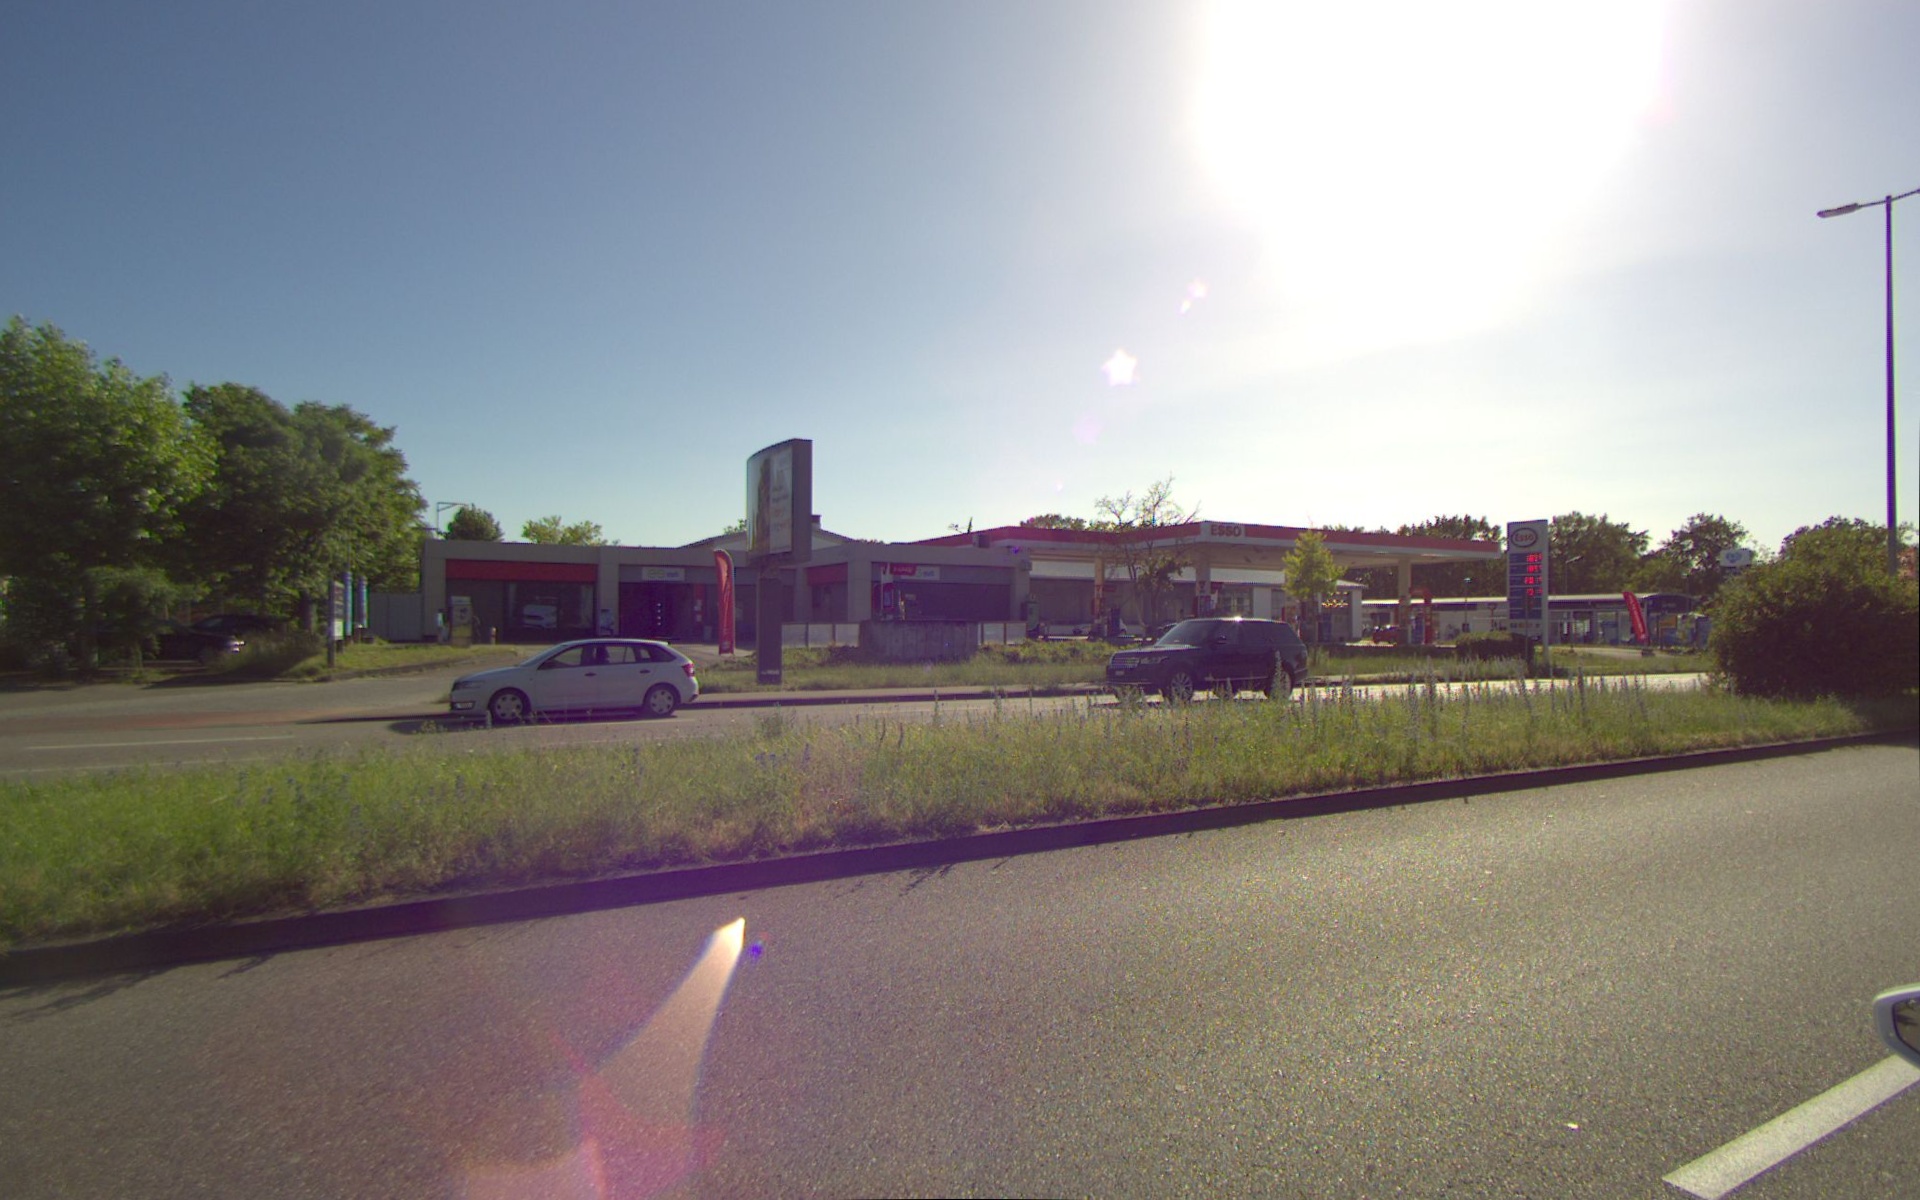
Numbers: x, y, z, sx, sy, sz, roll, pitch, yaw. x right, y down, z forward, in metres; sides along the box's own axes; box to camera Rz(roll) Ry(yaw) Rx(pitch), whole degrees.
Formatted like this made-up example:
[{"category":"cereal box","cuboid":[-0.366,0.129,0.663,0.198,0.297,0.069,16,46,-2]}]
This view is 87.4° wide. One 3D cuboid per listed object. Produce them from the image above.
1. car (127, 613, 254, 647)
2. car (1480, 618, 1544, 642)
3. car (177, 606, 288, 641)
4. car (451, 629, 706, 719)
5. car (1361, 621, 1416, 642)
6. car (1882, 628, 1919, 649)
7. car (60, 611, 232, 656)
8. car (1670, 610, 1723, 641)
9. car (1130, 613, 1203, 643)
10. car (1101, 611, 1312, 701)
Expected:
[{"category":"car","cuboid":[-31.255,1.209,40.954,3.885,1.327,1.779,1,-1,-30]},{"category":"car","cuboid":[46.421,2.502,84.515,1.978,1.867,4.361,1,-1,-32]},{"category":"car","cuboid":[-33.123,1.065,45.875,3.885,1.550,1.779,1,-1,-30]},{"category":"car","cuboid":[-6.944,1.301,18.401,4.159,1.474,1.732,1,-3,-30]},{"category":"car","cuboid":[34.306,2.523,80.369,4.241,1.570,1.803,1,-1,-29]},{"category":"car","cuboid":[86.193,3.478,91.304,1.888,1.806,4.089,0,-1,16]},{"category":"car","cuboid":[-25.108,1.030,31.179,3.885,1.327,1.779,1,-1,-30]},{"category":"car","cuboid":[54.986,1.887,74.994,3.954,2.239,1.810,1,-1,-31]},{"category":"car","cuboid":[10.977,1.480,53.599,1.971,1.494,3.978,1,-1,-23]},{"category":"car","cuboid":[5.503,1.223,22.261,4.615,1.825,1.732,1,-4,-30]}]
